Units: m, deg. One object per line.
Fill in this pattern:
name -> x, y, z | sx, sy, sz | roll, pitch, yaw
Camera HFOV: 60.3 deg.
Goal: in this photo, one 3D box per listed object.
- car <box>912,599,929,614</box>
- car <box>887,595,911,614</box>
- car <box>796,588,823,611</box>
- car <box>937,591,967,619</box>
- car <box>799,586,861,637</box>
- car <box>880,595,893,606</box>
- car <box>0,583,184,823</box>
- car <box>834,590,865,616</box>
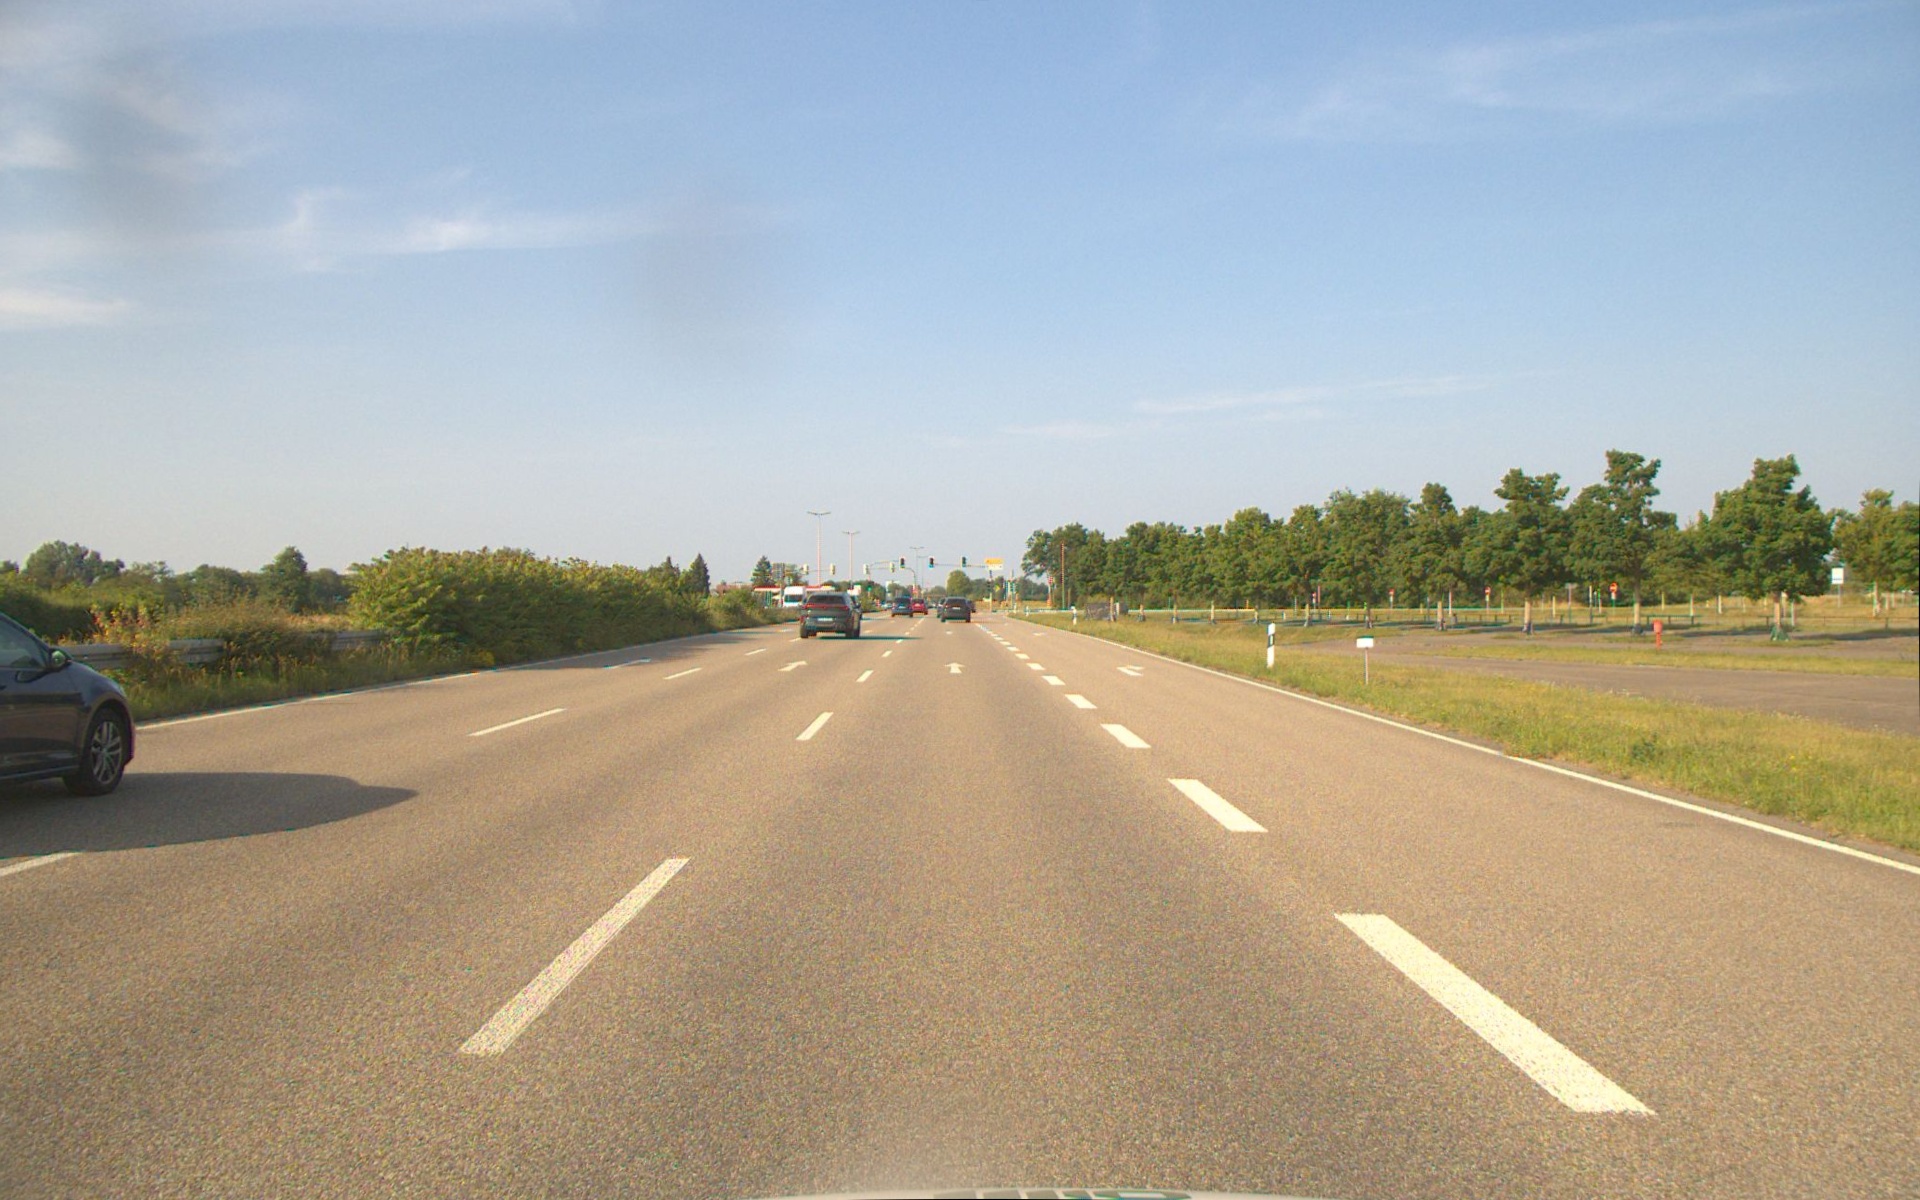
car -> -3.886, 0.638, 165.040 | 1.614, 1.489, 3.980 | 2, 0, -1
car -> -5.017, 0.337, 136.439 | 1.776, 1.489, 4.400 | 2, 0, -1
car -> -14.374, -0.025, 158.344 | 2.118, 2.071, 6.321 | 1, -1, -1
car -> -0.519, 0.326, 108.461 | 1.893, 1.709, 4.400 | 2, 0, -1
car -> -4.477, 0.373, 57.628 | 1.808, 1.640, 4.400 | 2, 0, -1
car -> -10.006, 0.060, 224.553 | 1.567, 1.559, 3.999 | 2, 0, -1
car -> -6.791, 0.644, 10.404 | 1.613, 1.497, 4.775 | 0, 0, -1
car -> -7.643, 0.165, 114.932 | 1.893, 1.709, 4.400 | 2, 0, -1
